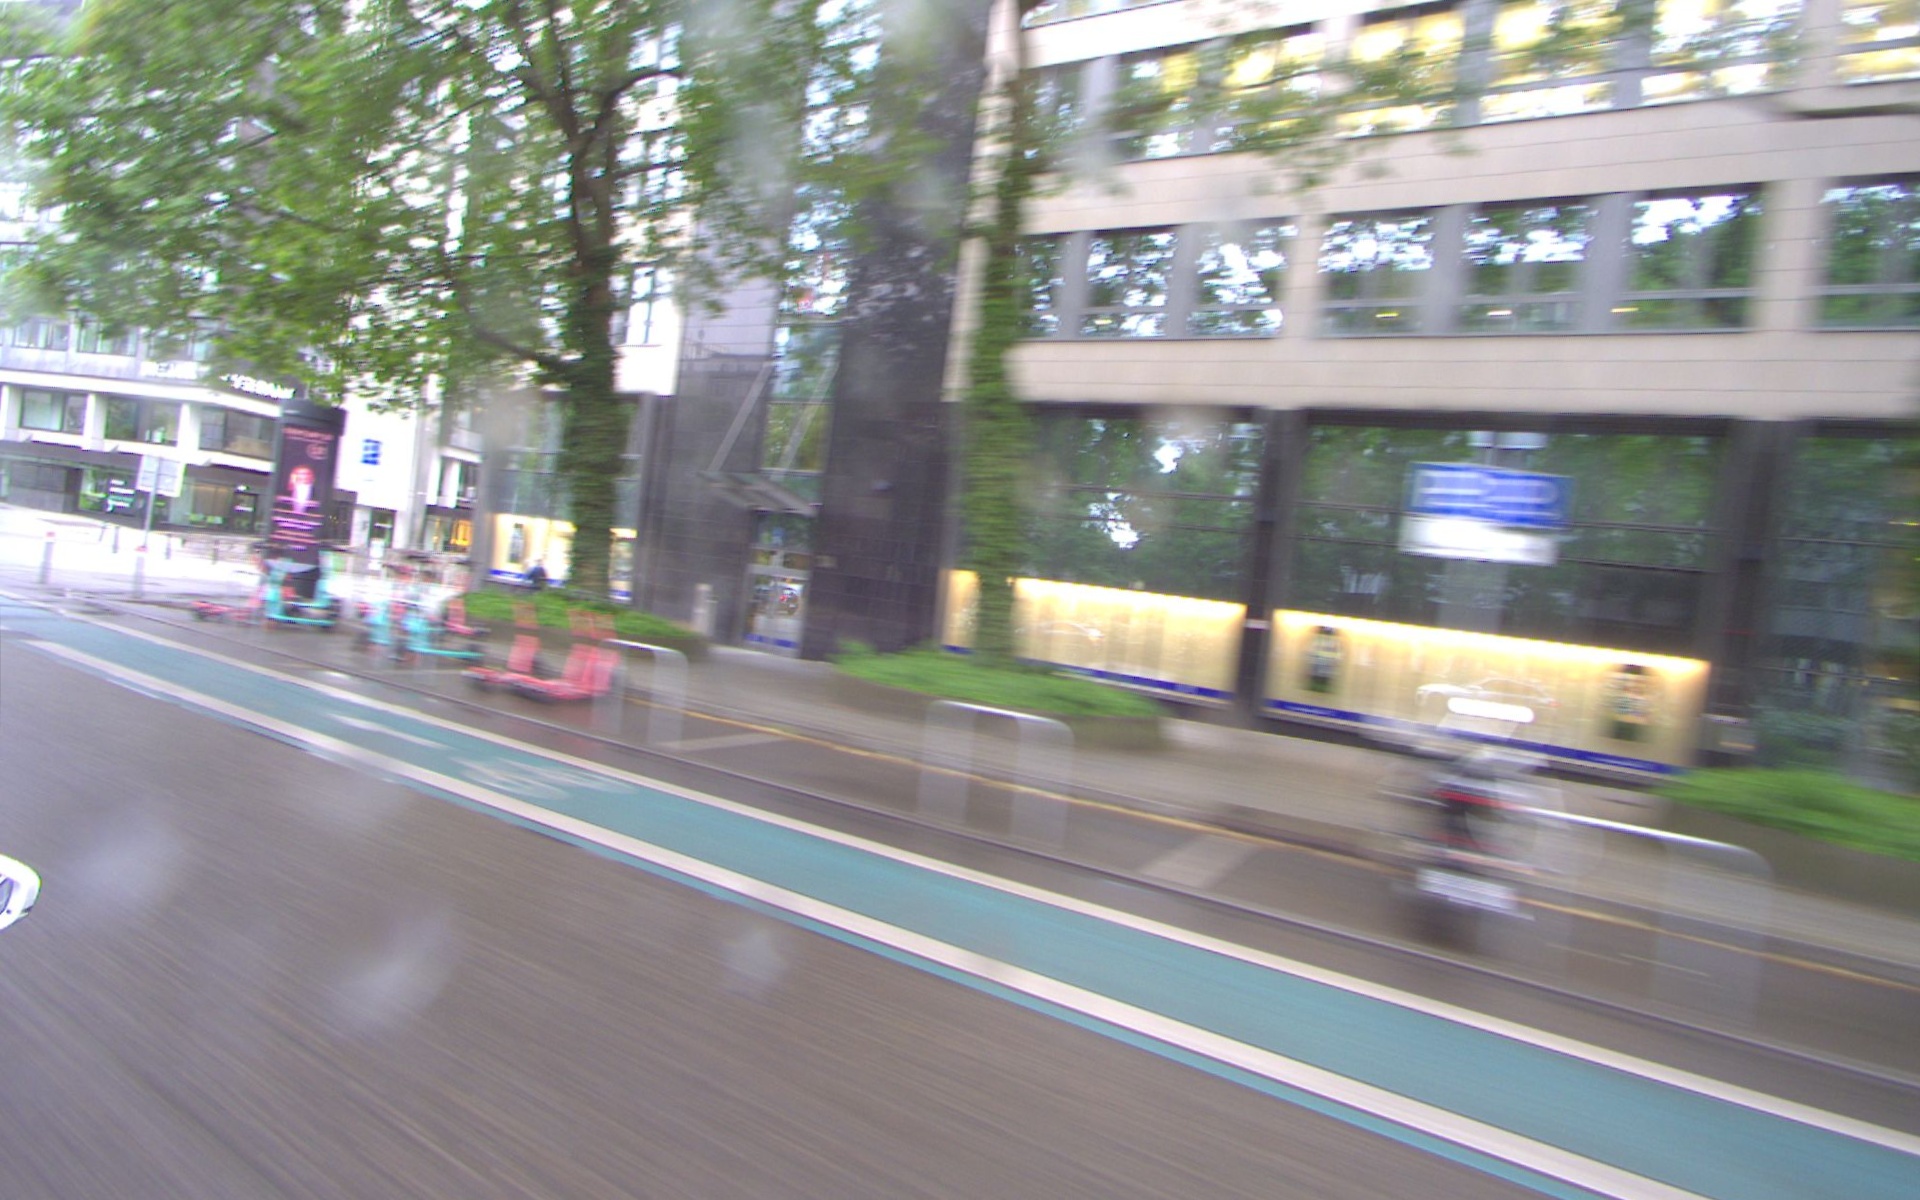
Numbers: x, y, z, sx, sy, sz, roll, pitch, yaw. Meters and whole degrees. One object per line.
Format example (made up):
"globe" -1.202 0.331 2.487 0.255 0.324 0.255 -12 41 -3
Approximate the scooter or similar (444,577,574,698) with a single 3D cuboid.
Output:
"scooter or similar" -5.314 0.444 11.935 0.527 1.294 1.293 8 2 20

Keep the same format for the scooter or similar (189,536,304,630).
"scooter or similar" -11.015 -0.249 15.552 0.482 1.276 1.287 10 2 42

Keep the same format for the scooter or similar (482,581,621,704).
"scooter or similar" -4.705 0.511 11.648 0.528 1.294 1.289 9 2 35

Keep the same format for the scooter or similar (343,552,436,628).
"scooter or similar" -10.237 -0.170 18.072 1.269 1.212 0.489 7 0 0

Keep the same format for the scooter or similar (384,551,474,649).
"scooter or similar" -7.957 -0.002 15.060 1.272 1.276 0.488 9 2 31

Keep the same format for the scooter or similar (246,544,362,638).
"scooter or similar" -9.907 -0.120 15.223 0.482 1.276 1.287 10 2 42

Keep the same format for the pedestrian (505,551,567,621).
"pedestrian" -12.473 -0.414 29.603 1.255 1.871 0.919 6 -1 30

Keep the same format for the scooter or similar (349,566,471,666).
"scooter or similar" -7.509 0.239 13.771 0.481 1.251 1.290 9 2 33

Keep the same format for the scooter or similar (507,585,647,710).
"scooter or similar" -4.326 0.550 11.435 0.528 1.294 1.289 9 2 35

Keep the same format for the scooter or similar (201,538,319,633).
"scooter or similar" -10.543 -0.204 15.174 0.482 1.276 1.287 10 2 42

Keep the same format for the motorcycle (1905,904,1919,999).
"motorcycle" 5.822 1.652 4.856 0.715 1.391 1.962 8 1 10

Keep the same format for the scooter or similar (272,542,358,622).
"scooter or similar" -11.018 -0.307 17.181 1.270 1.212 0.489 6 0 22

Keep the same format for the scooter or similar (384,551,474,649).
"scooter or similar" -7.957 -0.002 15.060 1.272 1.276 0.488 9 2 31

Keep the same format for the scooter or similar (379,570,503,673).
"scooter or similar" -6.885 0.303 13.392 0.481 1.251 1.290 9 2 33

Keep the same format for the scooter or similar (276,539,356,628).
"scooter or similar" -10.508 -0.274 16.396 1.272 1.276 0.488 9 2 31

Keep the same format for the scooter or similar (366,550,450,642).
"scooter or similar" -8.794 -0.070 16.016 1.272 1.276 0.488 9 2 31

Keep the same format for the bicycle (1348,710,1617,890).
"bicycle" 4.105 1.540 8.054 0.632 1.040 1.750 7 -1 -30

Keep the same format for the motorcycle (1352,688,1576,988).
"motorcycle" 3.095 1.367 6.414 0.715 1.391 1.962 8 1 15
